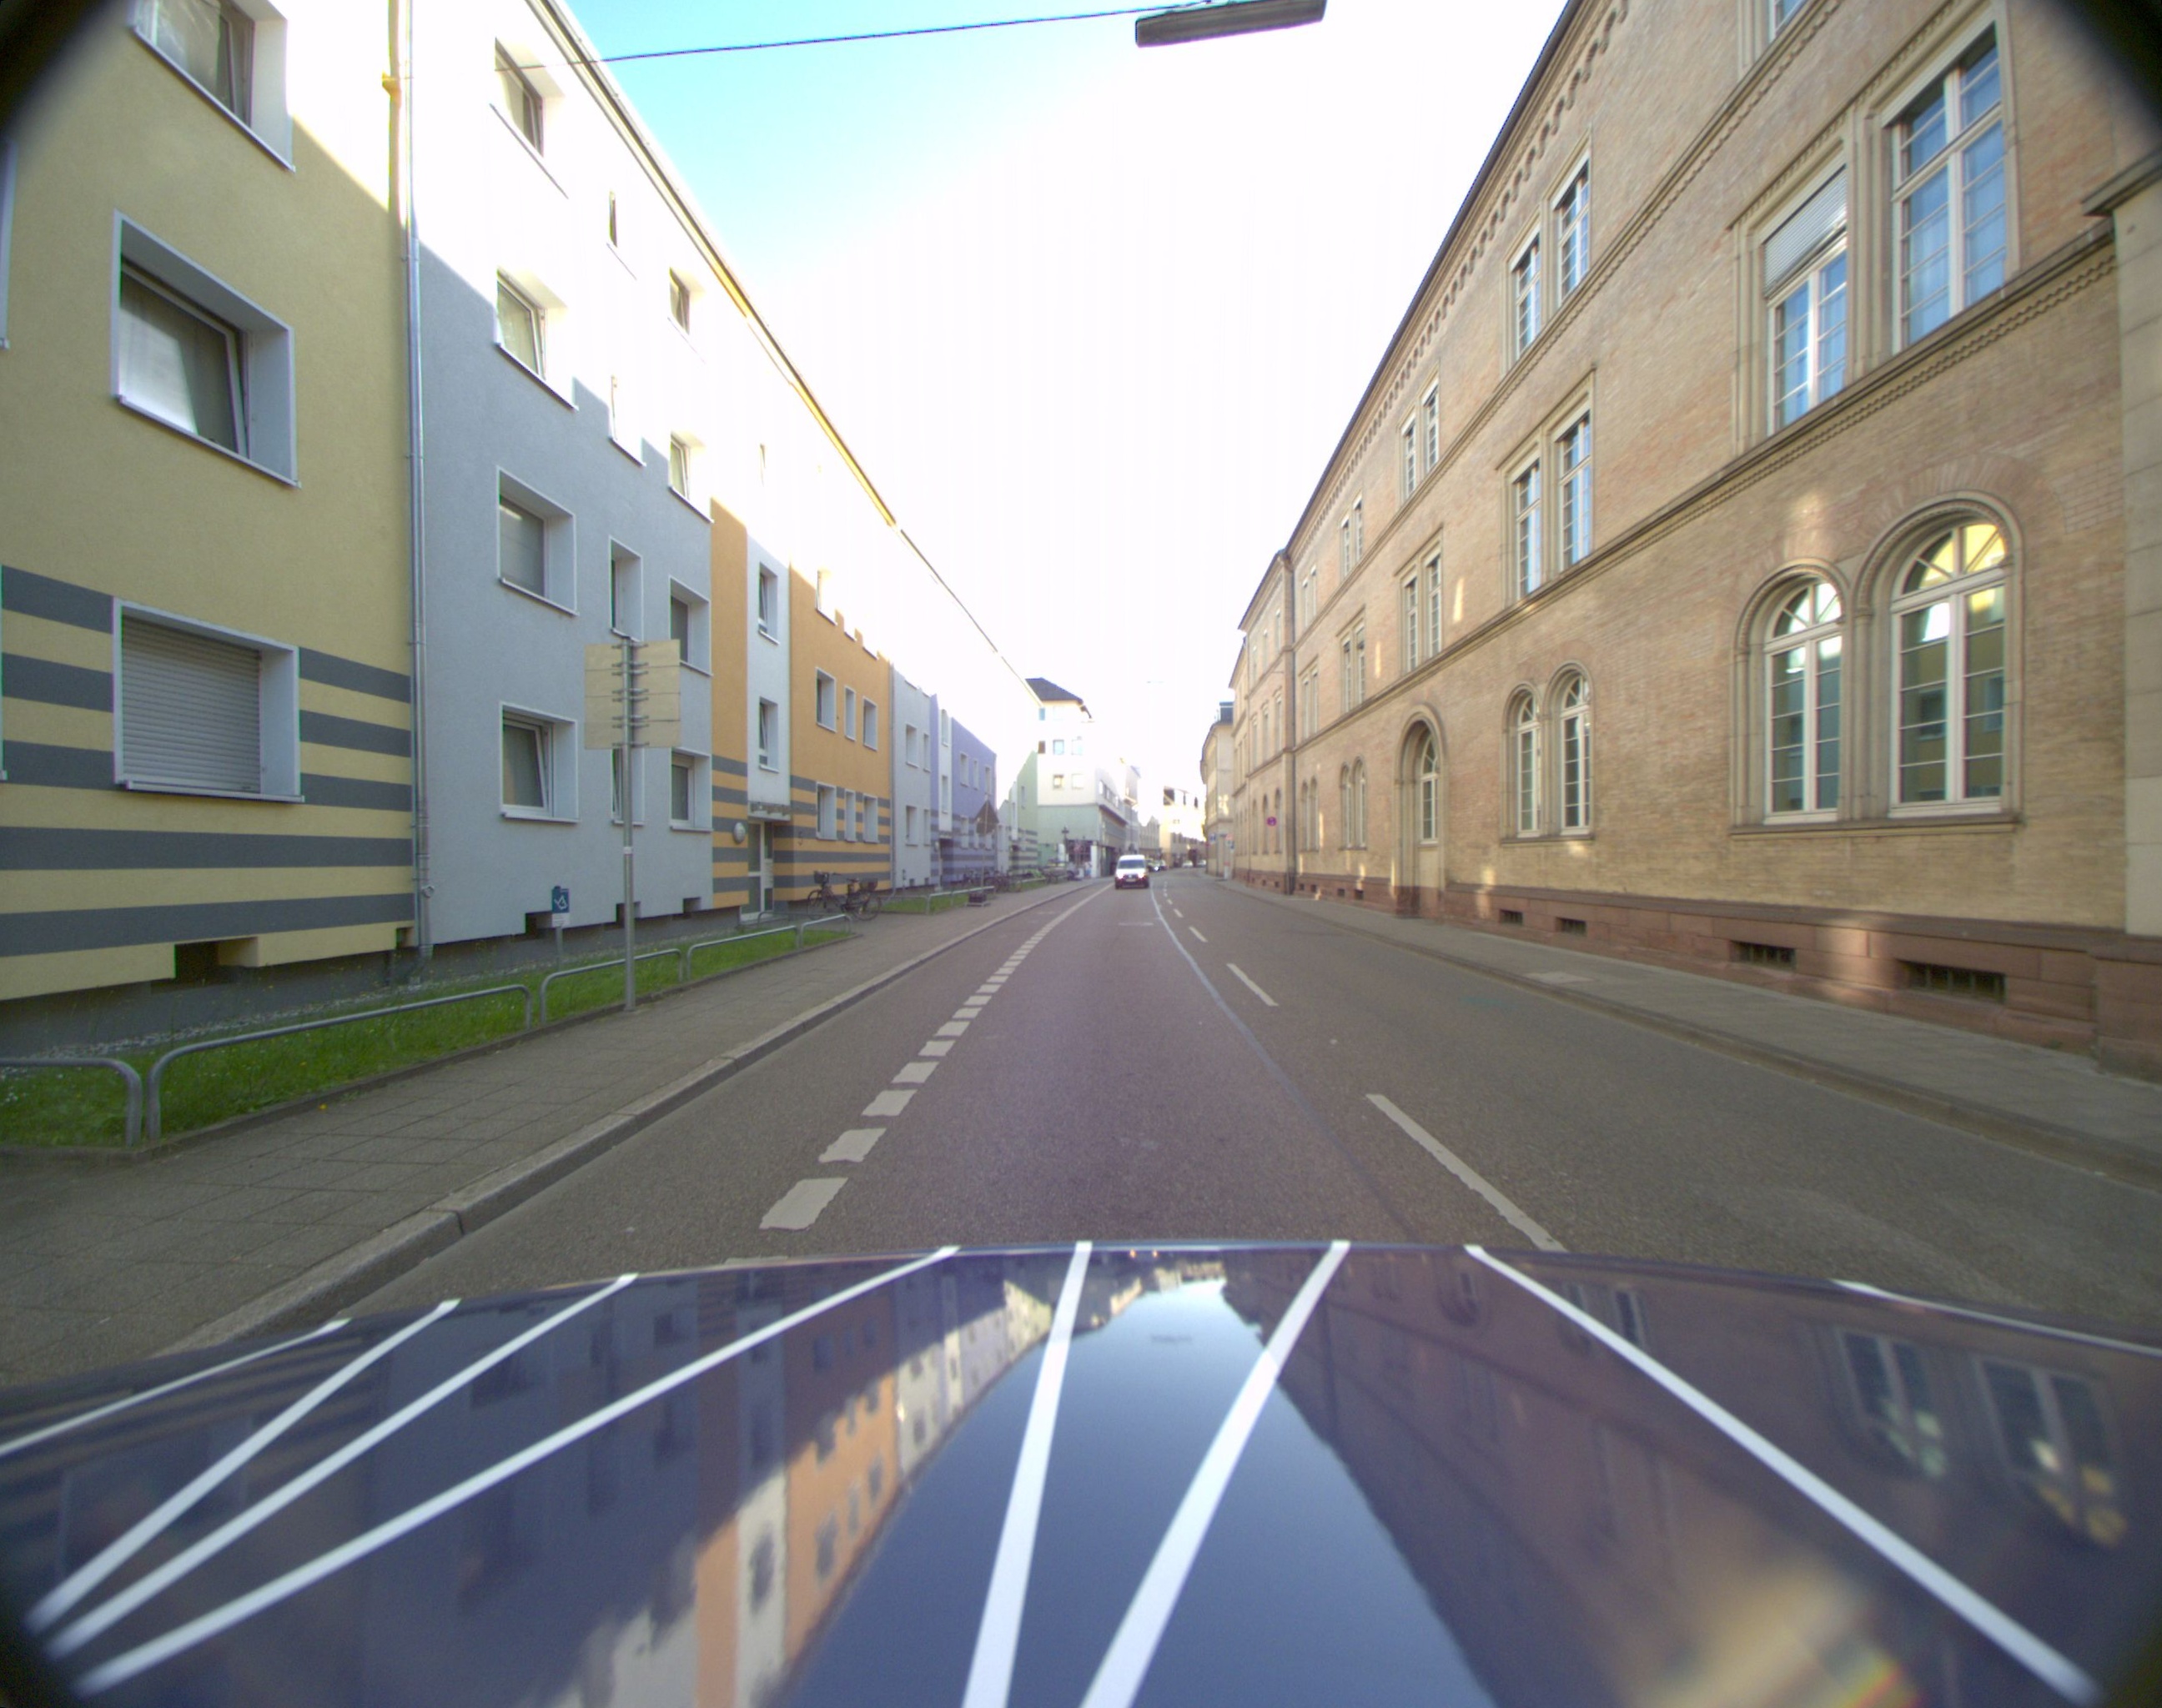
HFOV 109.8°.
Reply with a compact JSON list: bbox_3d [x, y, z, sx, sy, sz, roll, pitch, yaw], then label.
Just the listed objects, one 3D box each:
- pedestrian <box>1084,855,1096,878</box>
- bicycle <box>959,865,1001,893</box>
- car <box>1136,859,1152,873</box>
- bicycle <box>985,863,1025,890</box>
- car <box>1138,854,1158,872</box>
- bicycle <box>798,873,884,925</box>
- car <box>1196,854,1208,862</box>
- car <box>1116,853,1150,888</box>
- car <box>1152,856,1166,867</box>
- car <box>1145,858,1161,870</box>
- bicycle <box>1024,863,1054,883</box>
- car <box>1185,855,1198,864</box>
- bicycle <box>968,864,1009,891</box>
[{"bbox_3d":[0.642,0.873,54.648,0.705,1.627,0.833,2,2,5],"label":"pedestrian"},{"bbox_3d":[-4.235,1.041,31.843,1.676,1.145,0.484,0,0,4],"label":"bicycle"},{"bbox_3d":[8.380,1.595,100.955,1.998,1.643,4.230,-2,1,6],"label":"car"},{"bbox_3d":[-3.372,0.998,33.682,1.676,1.145,0.484,0,0,4],"label":"bicycle"},{"bbox_3d":[9.452,1.235,107.084,2.103,2.263,5.506,-2,1,11],"label":"car"},{"bbox_3d":[-5.385,1.009,17.106,1.780,1.116,0.484,0,0,-5],"label":"bicycle"},{"bbox_3d":[26.095,0.795,163.754,1.996,1.643,4.233,-2,1,17],"label":"car"},{"bbox_3d":[2.854,0.835,42.162,1.769,1.761,5.332,-1,1,3],"label":"car"},{"bbox_3d":[12.649,1.186,122.702,1.997,1.643,4.231,-2,1,9],"label":"car"},{"bbox_3d":[10.679,1.429,113.003,1.997,1.643,4.231,-2,1,10],"label":"car"},{"bbox_3d":[-2.515,1.148,46.053,1.779,1.145,0.484,0,0,0],"label":"bicycle"},{"bbox_3d":[22.112,1.079,152.024,1.996,1.643,4.233,-2,1,17],"label":"car"},{"bbox_3d":[-4.031,1.015,33.137,1.676,1.145,0.484,0,0,4],"label":"bicycle"}]
